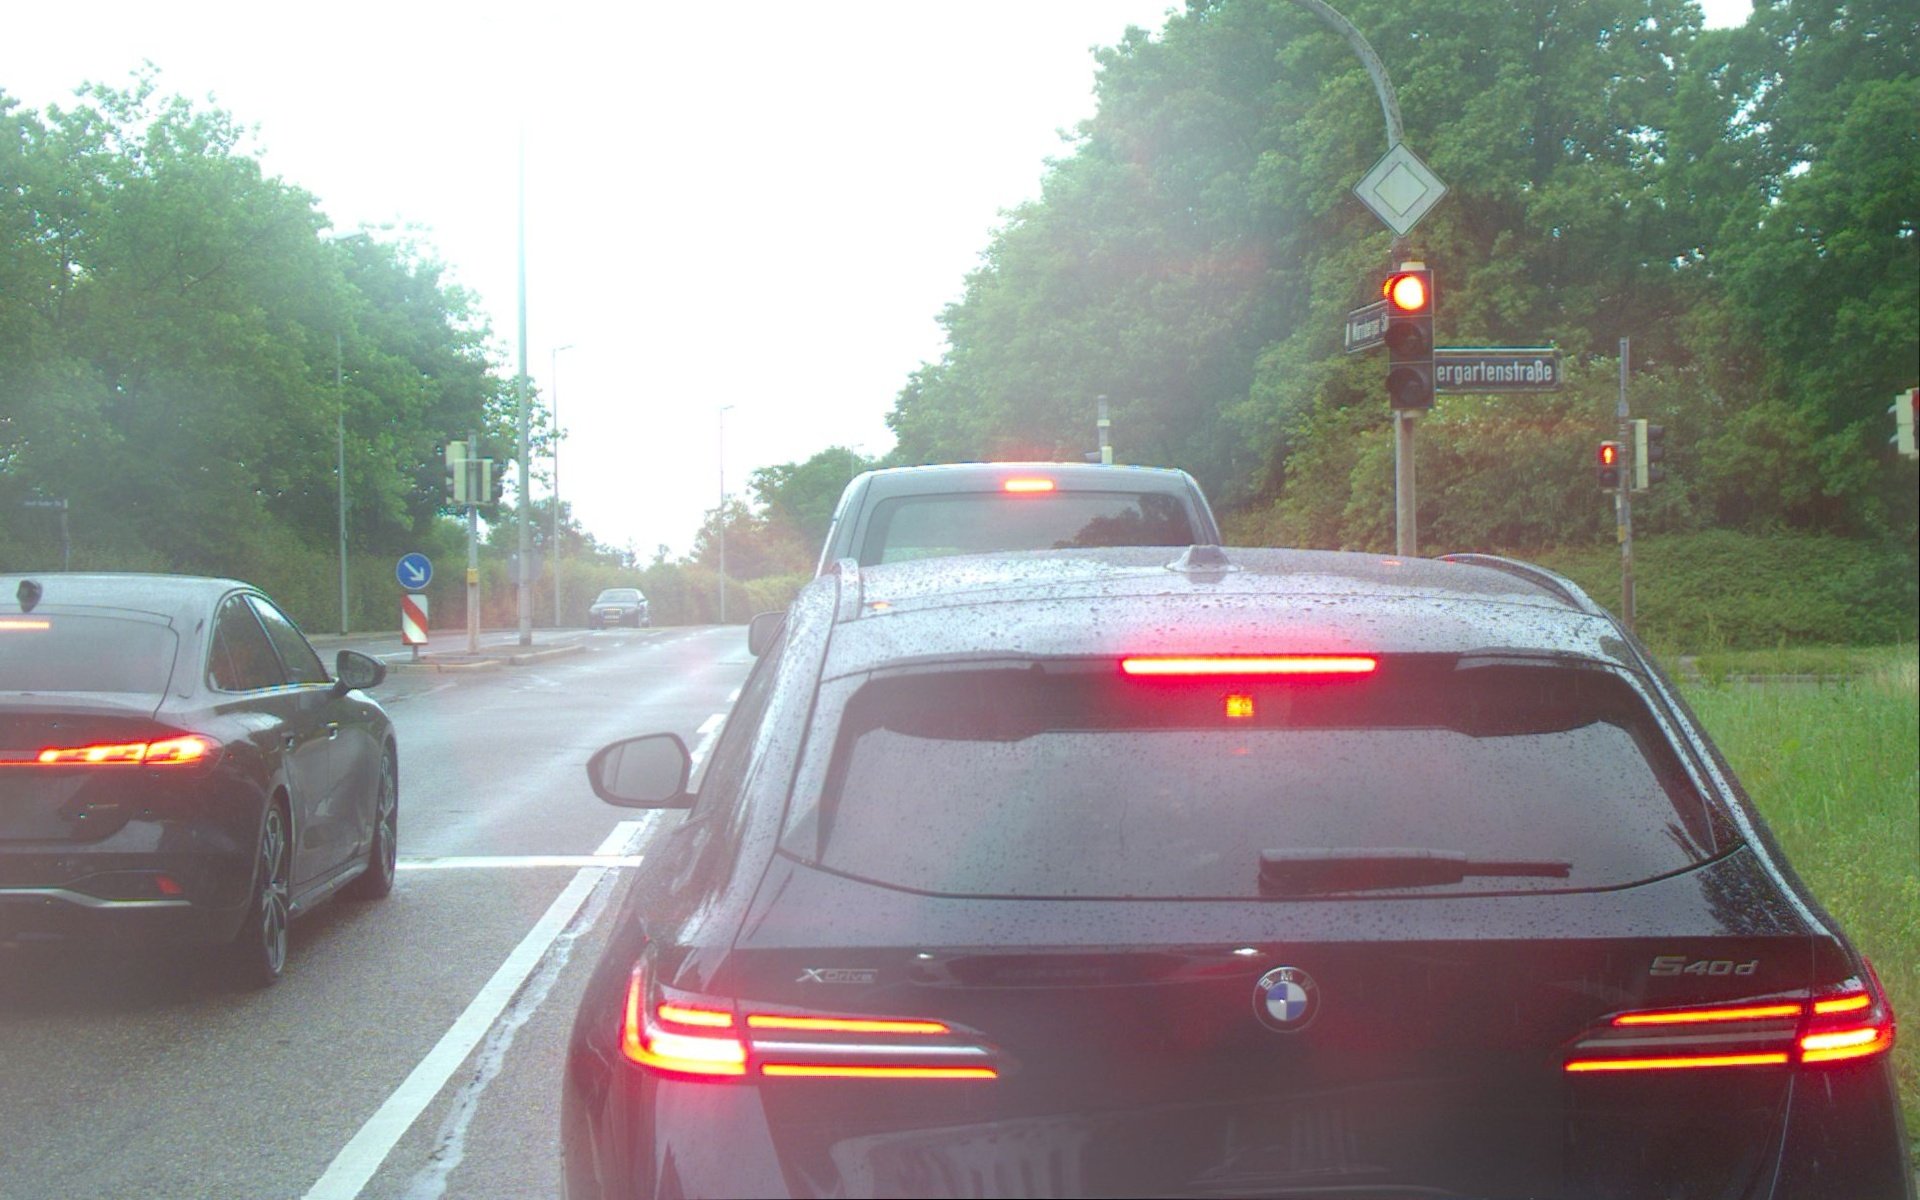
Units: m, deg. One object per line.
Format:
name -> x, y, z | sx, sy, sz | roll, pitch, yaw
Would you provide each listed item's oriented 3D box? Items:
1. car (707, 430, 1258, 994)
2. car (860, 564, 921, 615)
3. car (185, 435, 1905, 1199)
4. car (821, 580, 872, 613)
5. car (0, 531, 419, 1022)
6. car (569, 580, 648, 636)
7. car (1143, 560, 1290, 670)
car -> 0.071, 0.356, 13.359 | 1.818, 1.862, 3.952 | 0, 0, 0
car -> -2.070, -0.312, 102.785 | 1.697, 1.422, 3.514 | -2, 0, 0
car -> 0.199, 0.601, 6.106 | 1.898, 1.546, 4.614 | 0, 0, 3
car -> -5.947, -0.191, 180.259 | 1.994, 1.605, 3.670 | -2, 0, 8
car -> -3.326, 0.571, 13.028 | 1.993, 1.522, 4.328 | -2, 0, -3
car -> -12.136, 0.257, 118.930 | 1.994, 1.820, 3.999 | -2, 0, 4
car -> 3.871, 0.204, 52.427 | 1.873, 1.537, 3.952 | -2, 0, 0
